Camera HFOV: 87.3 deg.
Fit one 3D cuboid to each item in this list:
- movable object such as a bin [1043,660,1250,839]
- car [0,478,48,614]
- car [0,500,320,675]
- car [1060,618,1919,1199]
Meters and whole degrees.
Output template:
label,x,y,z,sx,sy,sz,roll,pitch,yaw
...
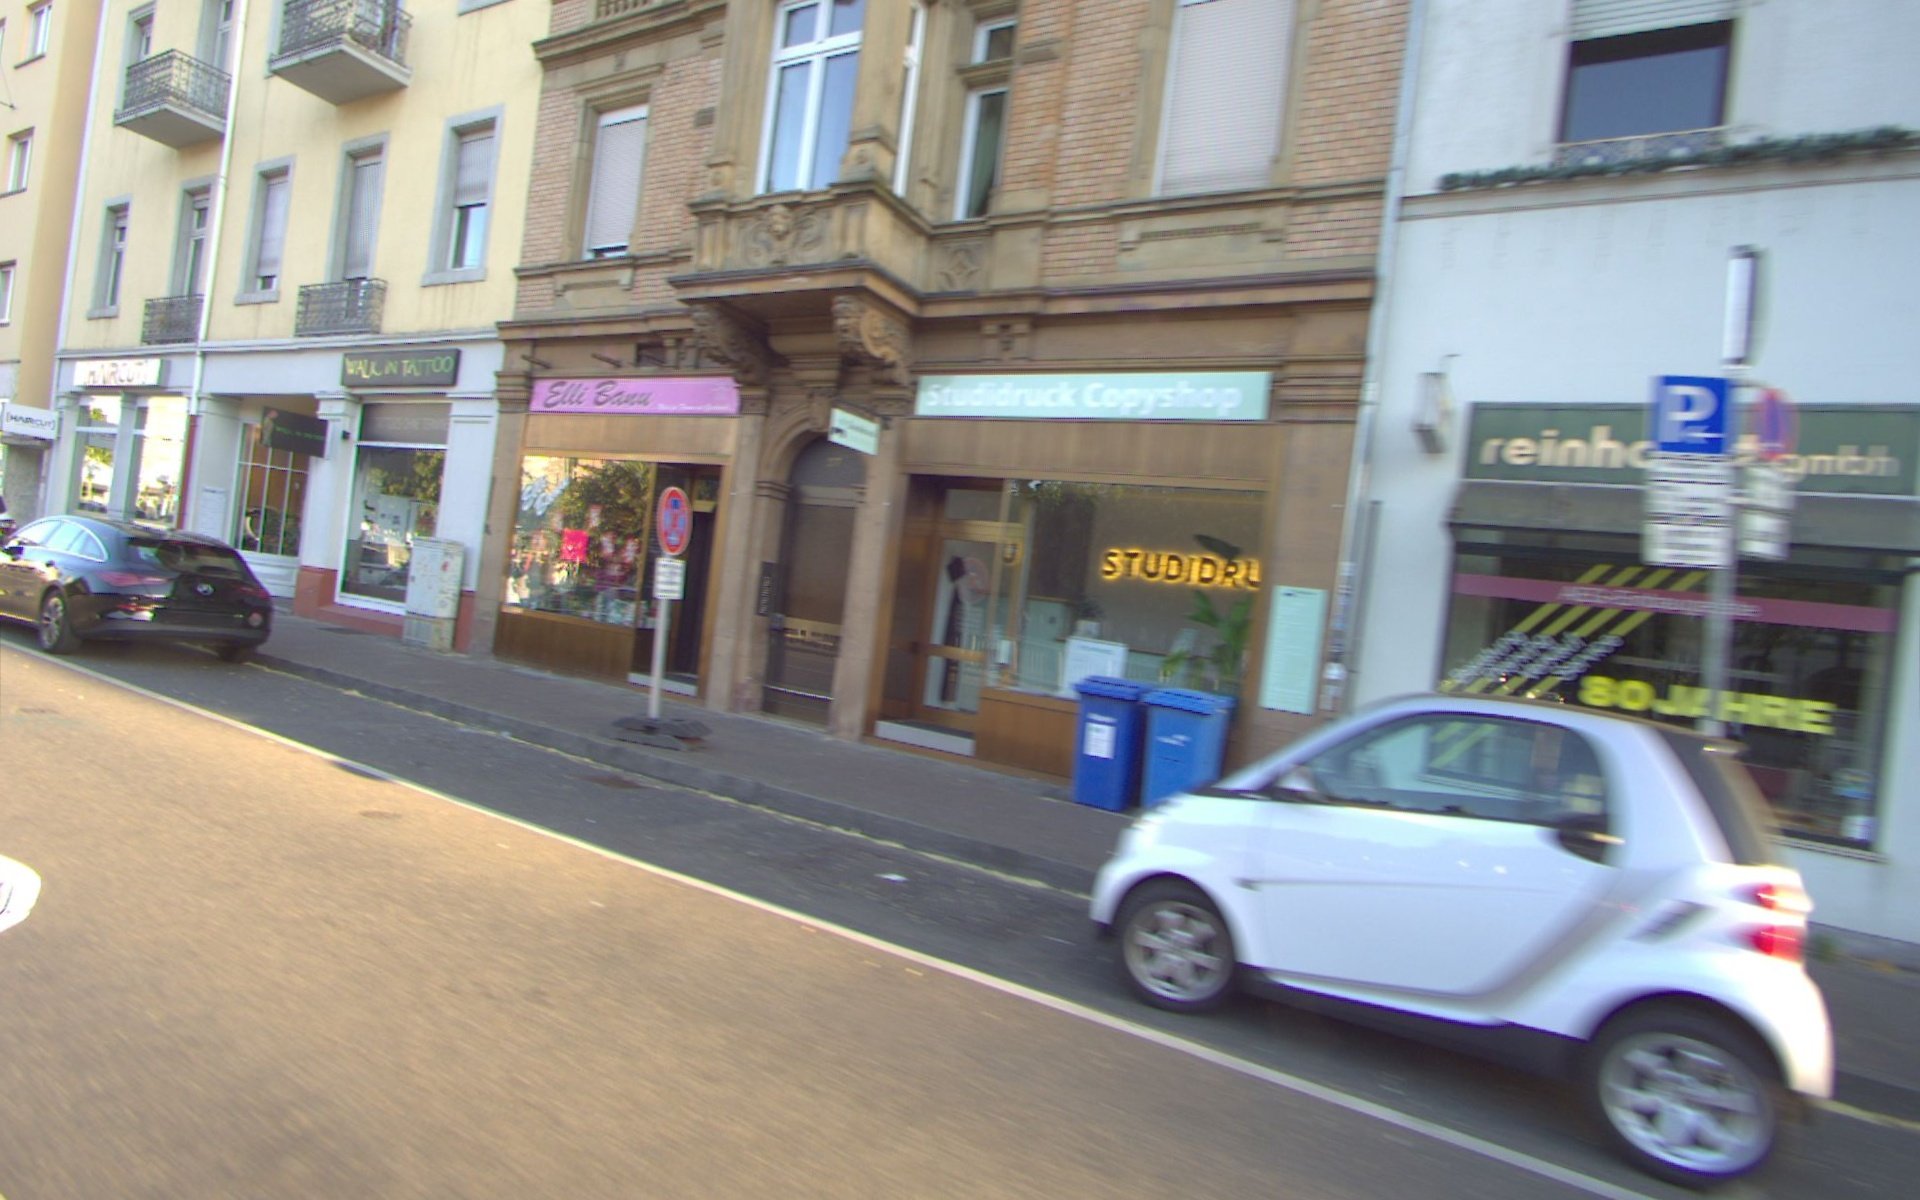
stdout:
label,x,y,z,sx,sy,sz,roll,pitch,yaw
movable object such as a bin,1.577,1.211,8.492,1.374,1.201,0.868,7,0,30
car,-15.032,-1.061,14.136,4.580,1.766,1.886,9,0,30
car,-9.778,-0.228,11.613,4.768,1.451,1.998,7,-1,31
car,2.656,1.197,4.251,3.932,1.604,1.703,9,0,31
